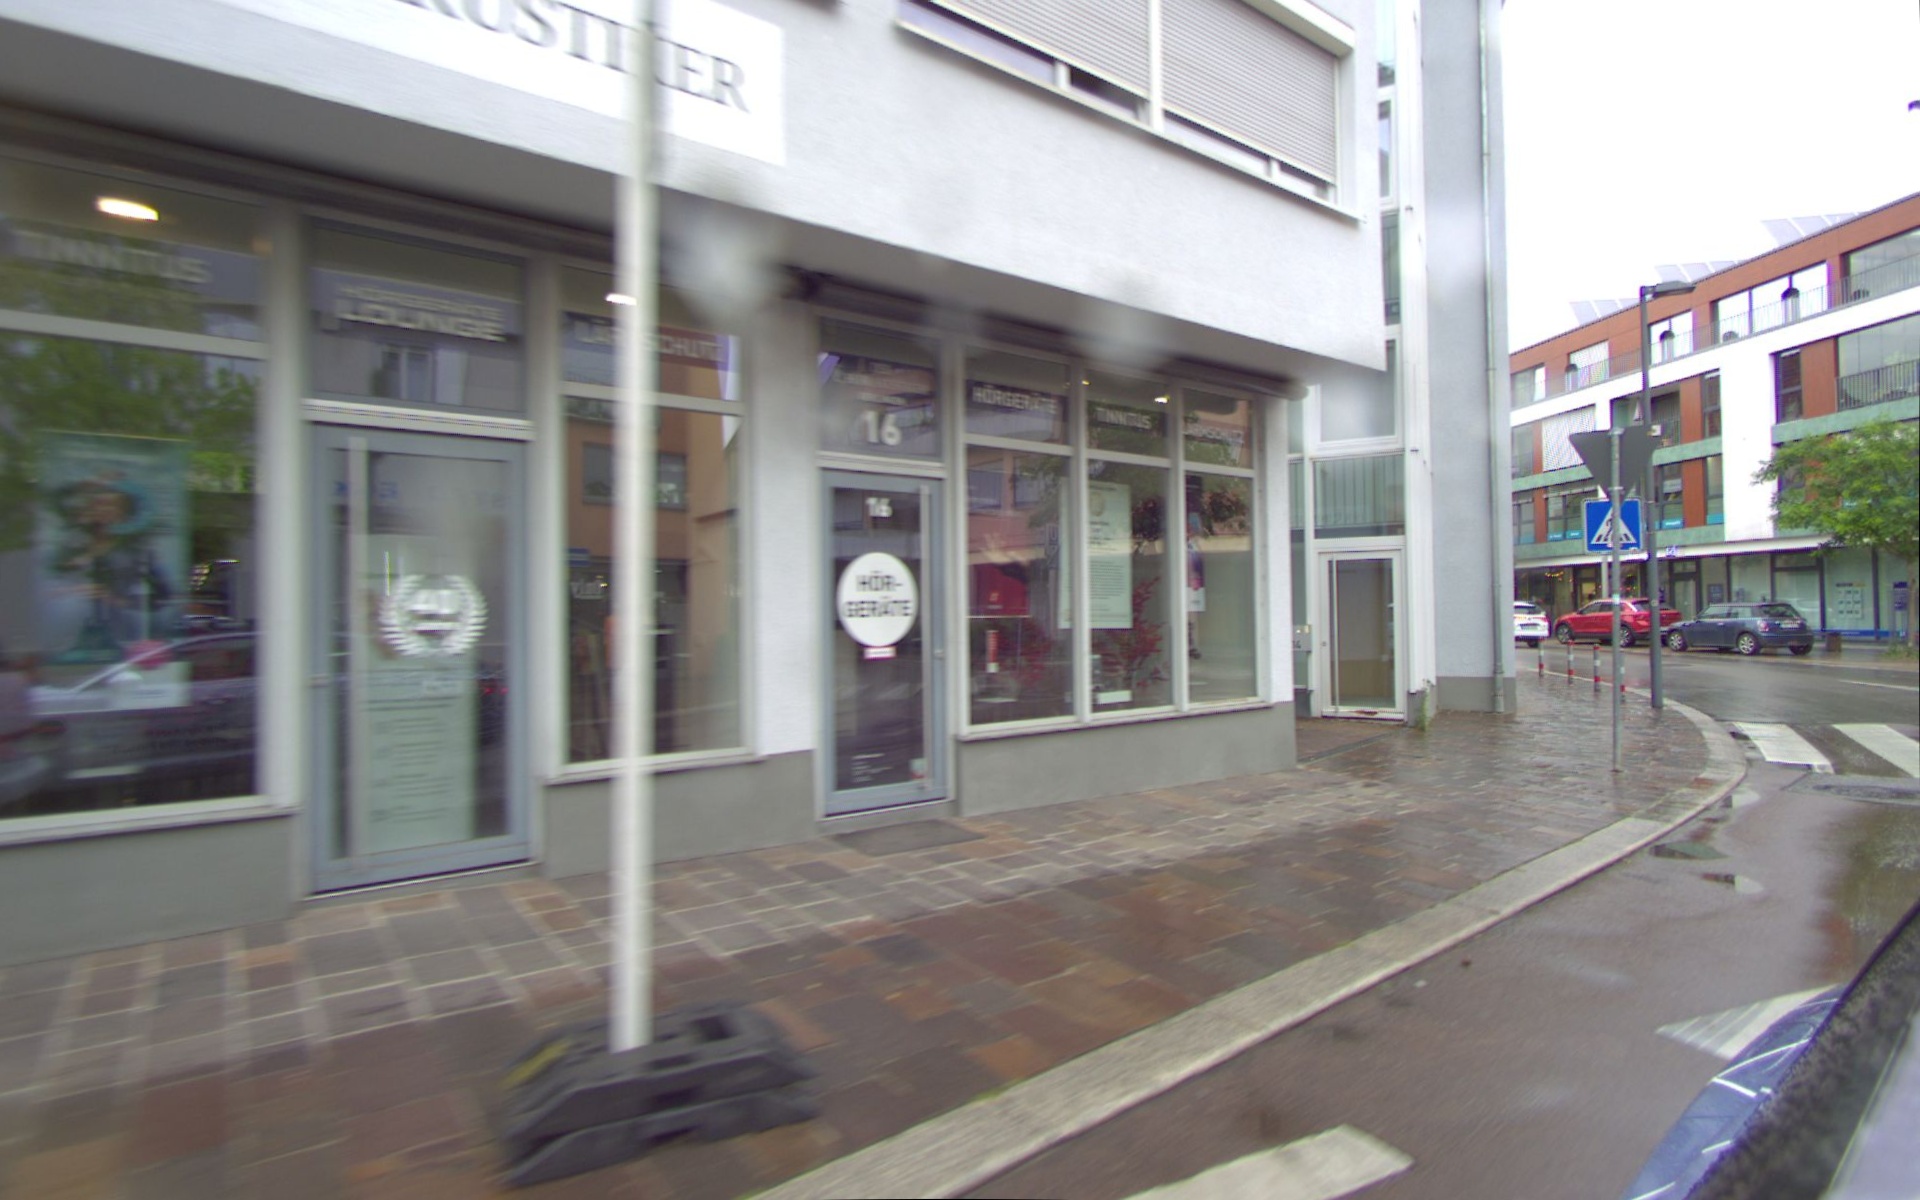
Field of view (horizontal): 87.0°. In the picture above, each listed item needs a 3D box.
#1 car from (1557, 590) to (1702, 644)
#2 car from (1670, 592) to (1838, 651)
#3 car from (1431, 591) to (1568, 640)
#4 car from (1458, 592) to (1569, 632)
[{"bbox_3d":[21.655,0.514,32.923,1.767,1.574,3.925,-2,0,-6],"label":"car"},{"bbox_3d":[21.796,0.563,27.962,1.647,1.454,3.587,-2,0,-2],"label":"car"},{"bbox_3d":[17.872,0.500,33.819,1.888,1.510,4.863,-1,0,0],"label":"car"},{"bbox_3d":[21.130,0.452,38.790,1.691,1.412,3.866,-2,0,-8],"label":"car"}]
